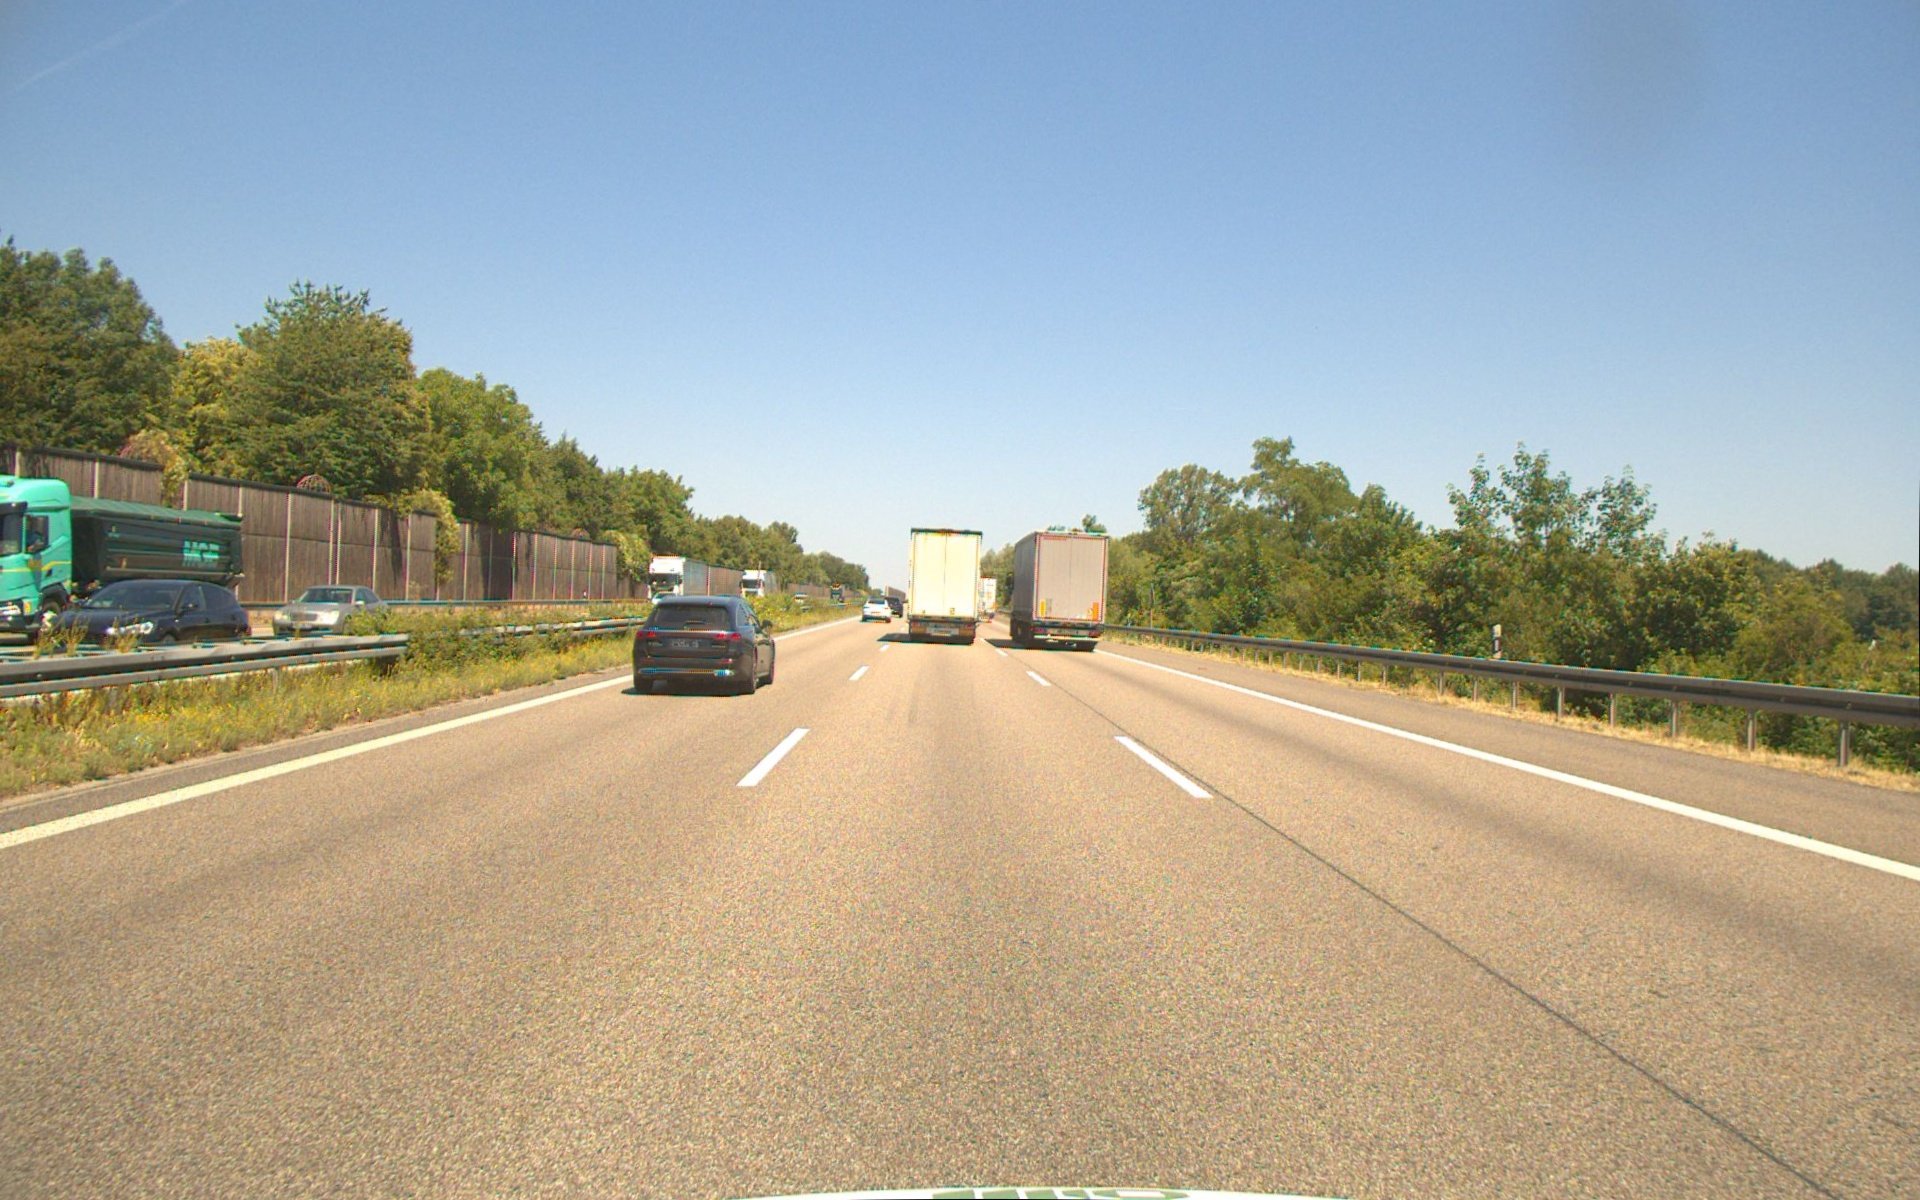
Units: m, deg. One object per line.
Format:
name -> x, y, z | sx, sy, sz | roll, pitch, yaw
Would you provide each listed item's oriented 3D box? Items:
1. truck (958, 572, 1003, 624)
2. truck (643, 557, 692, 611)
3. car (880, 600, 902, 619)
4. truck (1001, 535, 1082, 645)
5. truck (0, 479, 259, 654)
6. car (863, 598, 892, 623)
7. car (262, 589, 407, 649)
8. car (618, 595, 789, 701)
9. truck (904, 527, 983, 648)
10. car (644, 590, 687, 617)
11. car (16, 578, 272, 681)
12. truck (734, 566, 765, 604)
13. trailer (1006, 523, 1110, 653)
truck -> 1.828, -0.196, 152.656 | 3.307, 4.378, 11.444 | 4, 0, -2
truck -> -22.927, -1.222, 130.059 | 2.702, 4.092, 6.732 | 2, 0, -2
car -> -5.934, 0.801, 141.843 | 1.818, 1.645, 3.997 | 1, 0, -4
truck -> 3.313, -0.387, 69.286 | 2.637, 4.289, 7.835 | 2, 0, -2
truck -> -21.632, -0.726, 41.545 | 3.027, 3.739, 12.364 | 1, 0, -2
car -> -5.307, 0.665, 106.507 | 1.818, 1.512, 3.998 | 1, 0, -3
car -> -16.479, 0.472, 43.892 | 1.826, 1.466, 5.085 | 1, 0, 1
car -> -4.070, 0.701, 27.222 | 1.904, 1.533, 5.820 | 1, 0, 0
truck -> -0.777, -0.423, 64.870 | 2.652, 4.157, 13.468 | 2, 0, -2
car -> -18.409, 0.239, 103.638 | 1.953, 1.618, 4.492 | 1, 0, -1
car -> -12.892, 0.433, 26.488 | 1.918, 1.471, 4.458 | 1, 0, -1
truck -> -24.449, -1.714, 192.538 | 2.776, 4.256, 7.139 | 2, 0, -2
trailer -> 3.519, -0.390, 62.601 | 2.649, 4.289, 13.207 | 2, 0, -2
